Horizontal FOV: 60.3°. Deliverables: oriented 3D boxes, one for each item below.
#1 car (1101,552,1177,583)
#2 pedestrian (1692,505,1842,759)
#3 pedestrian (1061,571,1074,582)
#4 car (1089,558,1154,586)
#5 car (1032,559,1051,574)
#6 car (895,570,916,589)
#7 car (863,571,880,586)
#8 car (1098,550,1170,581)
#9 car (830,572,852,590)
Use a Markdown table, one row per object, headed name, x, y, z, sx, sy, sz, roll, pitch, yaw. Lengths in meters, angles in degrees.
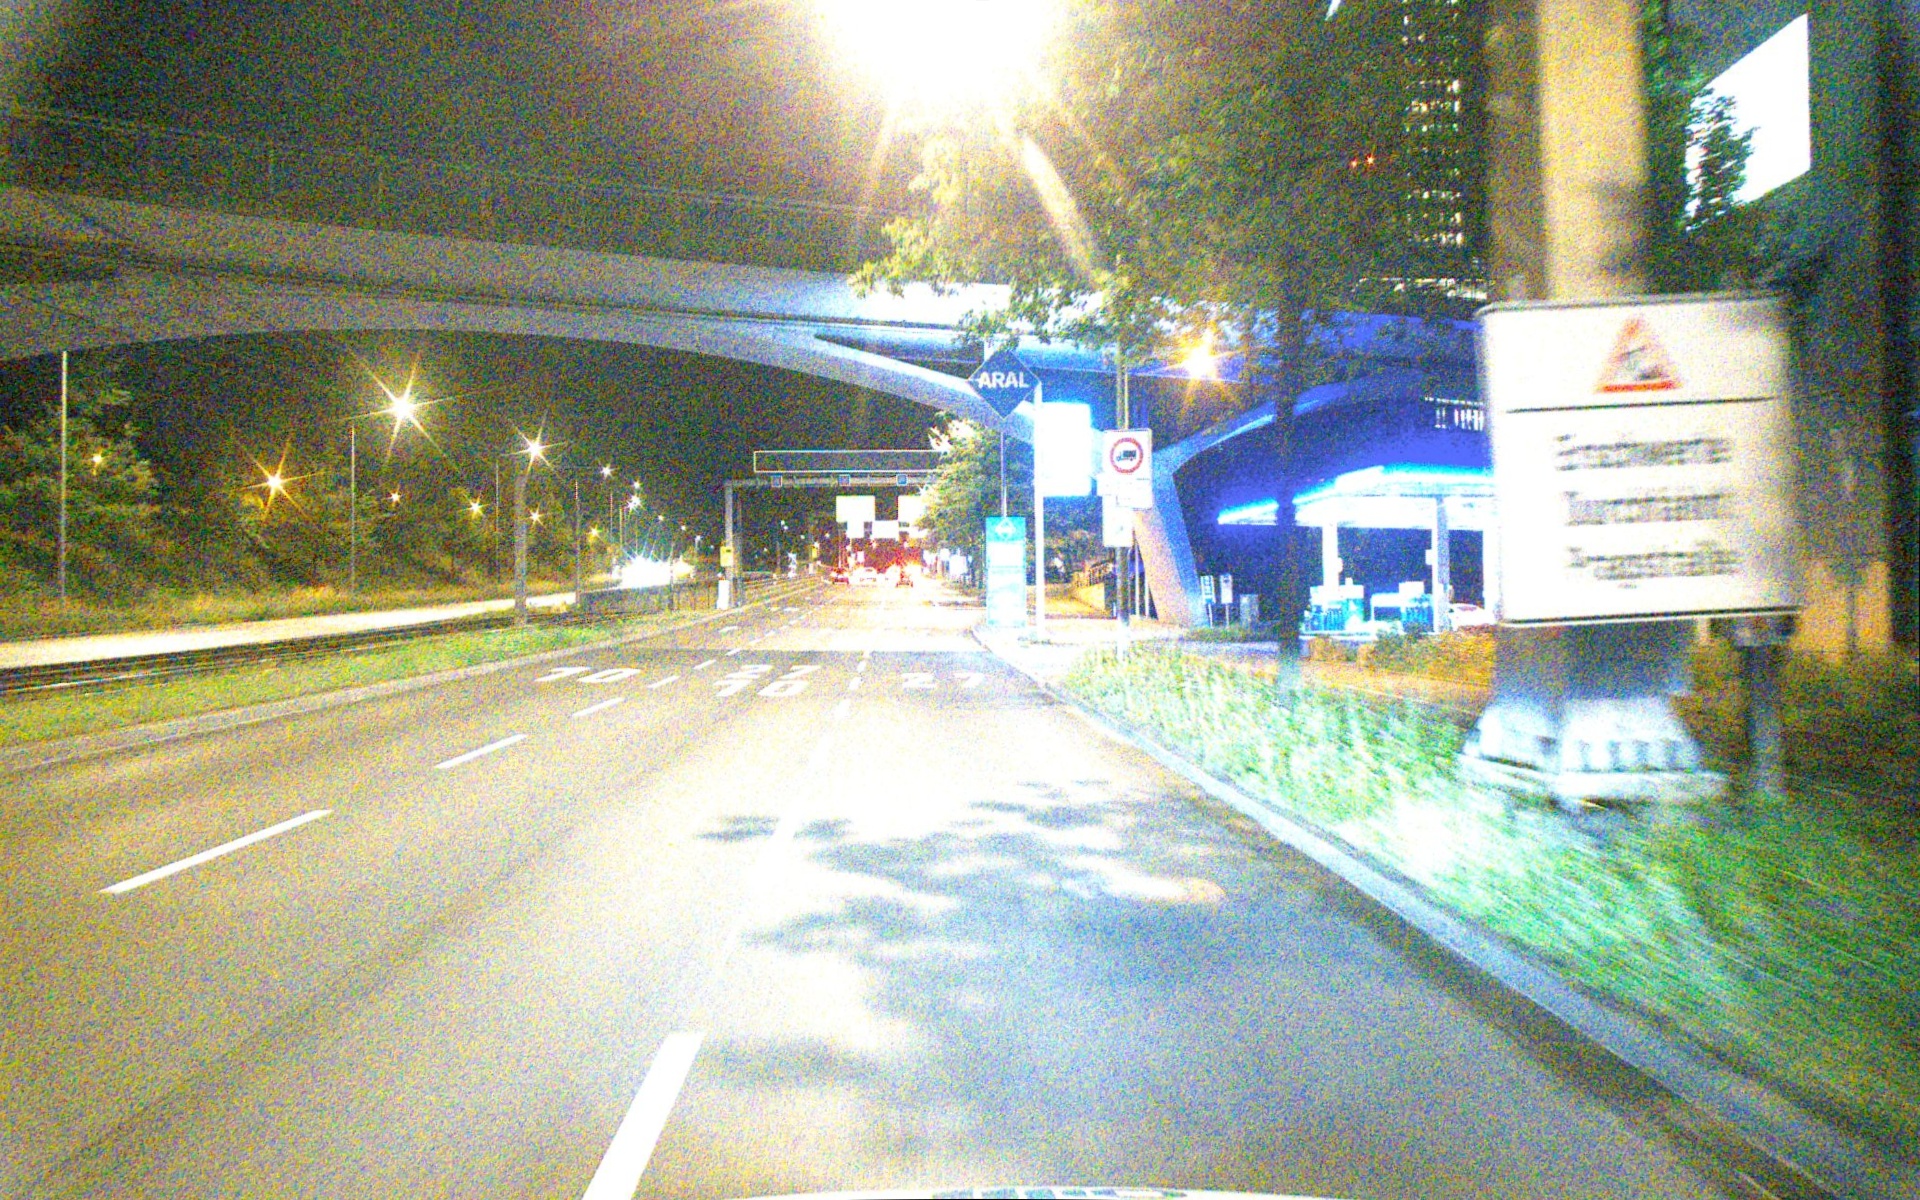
| name | x | y | z | sx | sy | sz | roll | pitch | yaw |
| --- | --- | --- | --- | --- | --- | --- | --- | --- | --- |
| car | 10.127 | -1.844 | 93.568 | 4.035 | 1.549 | 1.822 | -2 | -1 | -1 |
| pedestrian | 6.449 | 0.248 | 13.260 | 0.787 | 1.946 | 0.794 | -3 | 0 | 7 |
| pedestrian | 9.713 | -2.128 | 149.134 | 0.982 | 1.025 | 0.768 | 1 | -1 | -18 |
| car | 9.808 | -1.697 | 100.571 | 3.651 | 1.515 | 1.741 | -2 | -1 | -4 |
| car | 8.809 | -3.583 | 178.623 | 1.853 | 1.538 | 3.638 | 1 | 0 | 4 |
| car | -5.298 | -2.006 | 161.630 | 1.927 | 1.741 | 4.000 | 1 | 0 | 0 |
| car | -10.465 | -2.532 | 195.192 | 1.746 | 1.741 | 4.000 | 1 | 0 | 0 |
| car | 10.069 | -1.978 | 95.954 | 3.906 | 1.598 | 1.738 | -2 | 0 | -1 |
| car | -12.264 | -1.931 | 170.558 | 1.927 | 1.741 | 4.000 | 1 | 0 | 0 |
